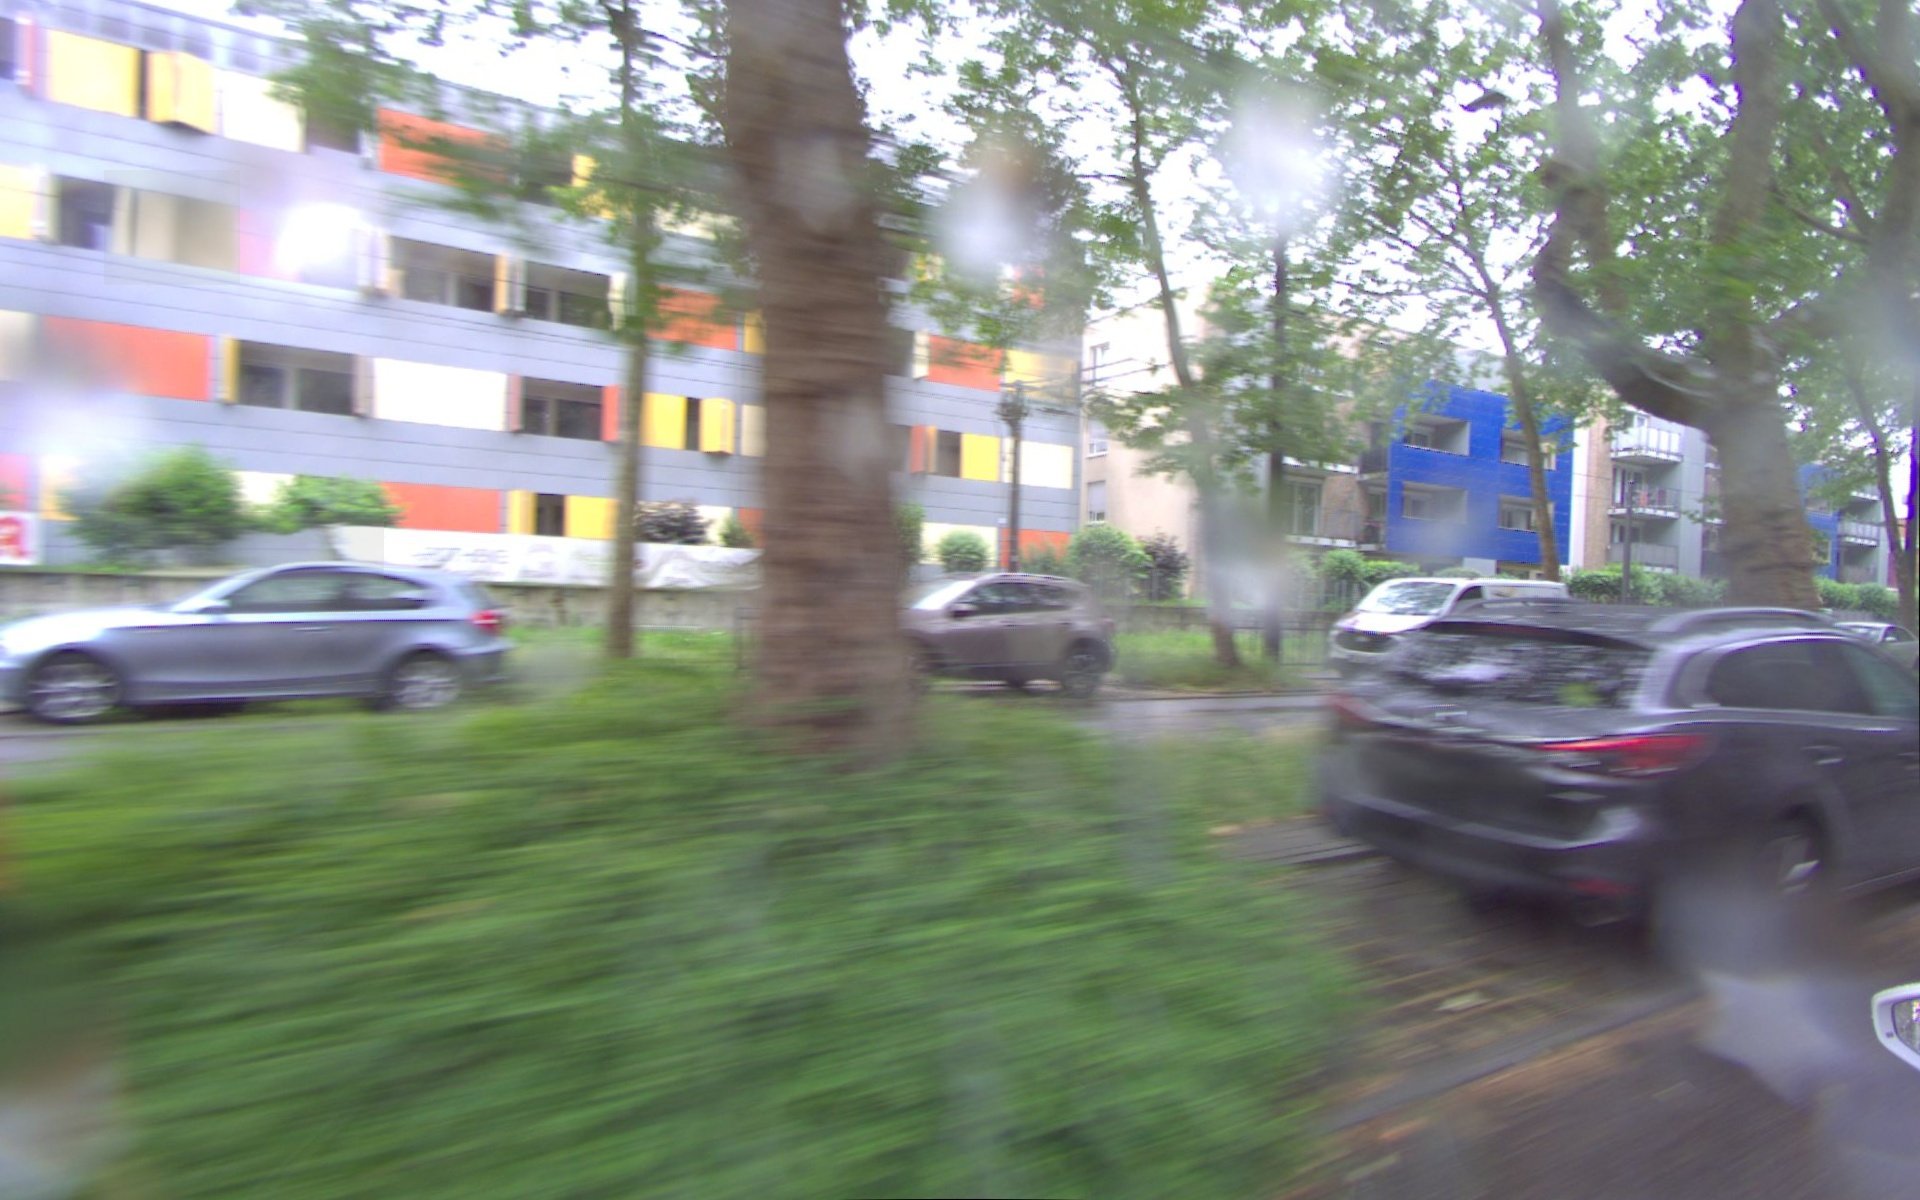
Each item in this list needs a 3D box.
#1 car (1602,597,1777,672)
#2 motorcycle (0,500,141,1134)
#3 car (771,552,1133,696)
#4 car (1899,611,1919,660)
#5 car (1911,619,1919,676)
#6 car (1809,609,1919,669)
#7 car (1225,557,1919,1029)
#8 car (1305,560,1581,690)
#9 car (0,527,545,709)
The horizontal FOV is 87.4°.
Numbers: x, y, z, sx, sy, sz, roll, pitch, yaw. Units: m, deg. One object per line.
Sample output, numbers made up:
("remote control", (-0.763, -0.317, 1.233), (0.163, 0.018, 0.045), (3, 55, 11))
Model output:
("car", (17.459, 0.822, 24.009), (4.169, 1.554, 1.894), (2, 2, -32))
("motorcycle", (-2.810, 0.509, 1.727), (0.756, 1.520, 2.110), (4, 2, 13))
("car", (-0.059, 0.308, 13.357), (4.415, 1.622, 1.895), (2, 2, -30))
("car", (32.972, 1.252, 33.102), (4.169, 1.554, 1.894), (2, 2, -32))
("car", (26.275, 1.324, 25.689), (3.955, 1.439, 1.824), (3, 2, -32))
("car", (26.833, 1.136, 29.271), (4.371, 1.554, 1.894), (2, 2, -32))
("car", (3.770, 0.677, 5.247), (4.567, 1.505, 1.886), (2, 3, -30))
("car", (9.028, 0.453, 18.593), (5.378, 2.024, 2.041), (2, 3, -34))
("car", (-6.552, 0.173, 9.932), (4.335, 1.483, 1.895), (2, 2, -29))
